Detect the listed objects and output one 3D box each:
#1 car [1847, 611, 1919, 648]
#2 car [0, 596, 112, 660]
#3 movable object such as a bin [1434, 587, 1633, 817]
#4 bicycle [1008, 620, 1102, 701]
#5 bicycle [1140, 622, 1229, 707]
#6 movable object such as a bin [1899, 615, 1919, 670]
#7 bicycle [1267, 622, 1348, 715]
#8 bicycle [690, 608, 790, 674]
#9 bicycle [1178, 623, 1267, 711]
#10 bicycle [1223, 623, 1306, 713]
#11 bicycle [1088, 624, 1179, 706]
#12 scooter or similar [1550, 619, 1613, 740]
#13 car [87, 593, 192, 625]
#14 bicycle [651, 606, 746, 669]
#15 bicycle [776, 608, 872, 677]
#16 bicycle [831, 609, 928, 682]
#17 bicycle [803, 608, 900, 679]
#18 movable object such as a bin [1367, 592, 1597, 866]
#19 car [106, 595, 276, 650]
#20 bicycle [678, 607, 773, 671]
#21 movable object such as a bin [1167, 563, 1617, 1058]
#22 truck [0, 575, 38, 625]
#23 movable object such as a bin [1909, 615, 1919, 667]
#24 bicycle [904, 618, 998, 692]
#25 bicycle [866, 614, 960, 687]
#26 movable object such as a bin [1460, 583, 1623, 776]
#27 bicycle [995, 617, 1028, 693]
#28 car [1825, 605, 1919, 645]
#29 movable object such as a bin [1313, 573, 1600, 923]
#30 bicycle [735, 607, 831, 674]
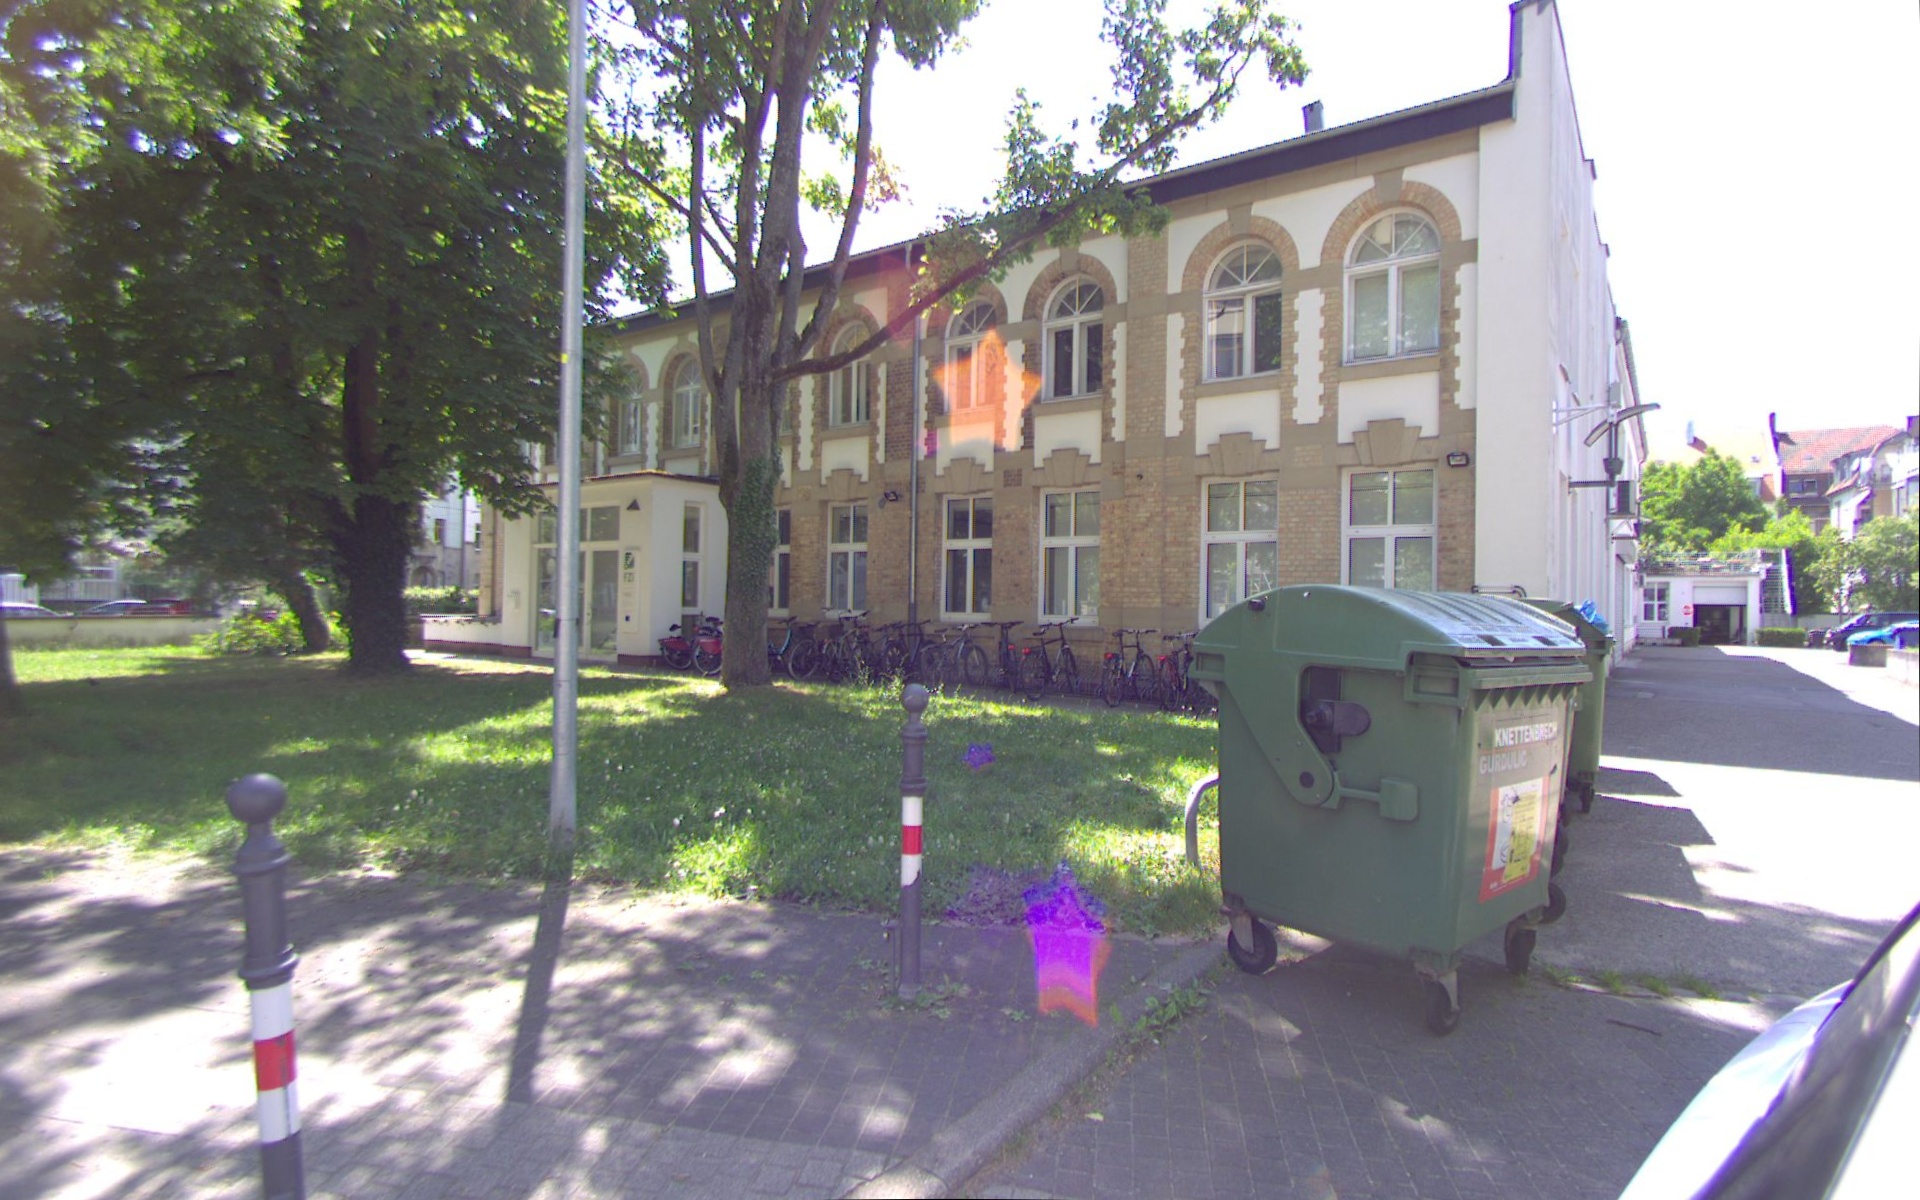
[{"bbox_3d":[42.675,1.314,45.344,4.137,1.573,1.838,1,0,32],"label":"car"},{"bbox_3d":[-23.246,0.661,24.609,1.677,1.482,3.928,1,0,8],"label":"car"},{"bbox_3d":[4.182,0.655,7.436,1.172,1.488,1.298,0,0,30],"label":"movable object such as a bin"},{"bbox_3d":[1.443,0.872,15.097,0.520,1.117,1.810,0,-1,37],"label":"bicycle"},{"bbox_3d":[3.122,0.851,13.943,0.502,1.081,1.810,0,-1,37],"label":"bicycle"},{"bbox_3d":[24.178,1.049,25.025,1.251,1.345,1.089,0,-1,36],"label":"movable object such as a bin"},{"bbox_3d":[4.469,0.838,12.955,0.452,1.081,1.810,0,-1,37],"label":"bicycle"},{"bbox_3d":[-4.032,0.724,18.662,0.587,1.157,1.814,0,0,41],"label":"bicycle"},{"bbox_3d":[3.548,0.856,13.571,0.502,1.081,1.810,0,-1,37],"label":"bicycle"},{"bbox_3d":[4.015,0.853,13.265,0.452,1.081,1.810,0,-1,37],"label":"bicycle"},{"bbox_3d":[2.489,0.885,14.350,0.502,1.081,1.810,0,-1,37],"label":"bicycle"},{"bbox_3d":[6.697,0.815,10.938,0.460,1.188,1.344,0,0,27],"label":"scooter or similar"},{"bbox_3d":[-35.230,0.370,43.562,3.273,1.307,1.500,0,0,-29],"label":"car"},{"bbox_3d":[-5.064,0.704,19.694,0.586,1.157,1.817,0,0,37],"label":"bicycle"},{"bbox_3d":[-2.379,0.728,17.940,0.586,1.157,1.817,0,0,37],"label":"bicycle"},{"bbox_3d":[-1.343,0.740,17.188,0.586,1.157,1.817,0,0,37],"label":"bicycle"},{"bbox_3d":[-1.853,0.730,17.565,0.586,1.157,1.817,0,0,37],"label":"bicycle"},{"bbox_3d":[3.309,0.698,6.382,1.174,1.488,1.296,0,0,32],"label":"movable object such as a bin"},{"bbox_3d":[-22.376,0.601,29.650,1.677,1.482,3.928,1,0,8],"label":"car"},{"bbox_3d":[-4.447,0.709,19.279,0.586,1.157,1.817,0,0,37],"label":"bicycle"},{"bbox_3d":[1.679,0.623,3.927,1.310,1.488,1.180,0,0,-43],"label":"movable object such as a bin"},{"bbox_3d":[-36.704,0.015,36.829,4.562,1.856,1.654,-1,0,-40],"label":"truck"},{"bbox_3d":[25.538,1.064,26.201,1.251,1.345,1.089,0,-1,36],"label":"movable object such as a bin"},{"bbox_3d":[-0.120,0.849,16.242,0.520,1.083,1.811,0,0,37],"label":"bicycle"},{"bbox_3d":[-0.750,0.800,16.683,0.520,1.114,1.817,0,0,37],"label":"bicycle"},{"bbox_3d":[5.054,0.622,8.921,1.147,1.524,1.449,0,0,27],"label":"movable object such as a bin"},{"bbox_3d":[0.823,0.831,15.910,0.464,1.117,1.833,1,-1,4],"label":"bicycle"},{"bbox_3d":[43.835,1.158,47.707,4.419,1.855,1.976,0,0,34],"label":"car"},{"bbox_3d":[2.545,0.623,5.177,1.173,1.488,1.297,0,0,31],"label":"movable object such as a bin"},{"bbox_3d":[-3.221,0.719,18.566,0.586,1.157,1.817,0,0,37],"label":"bicycle"}]
